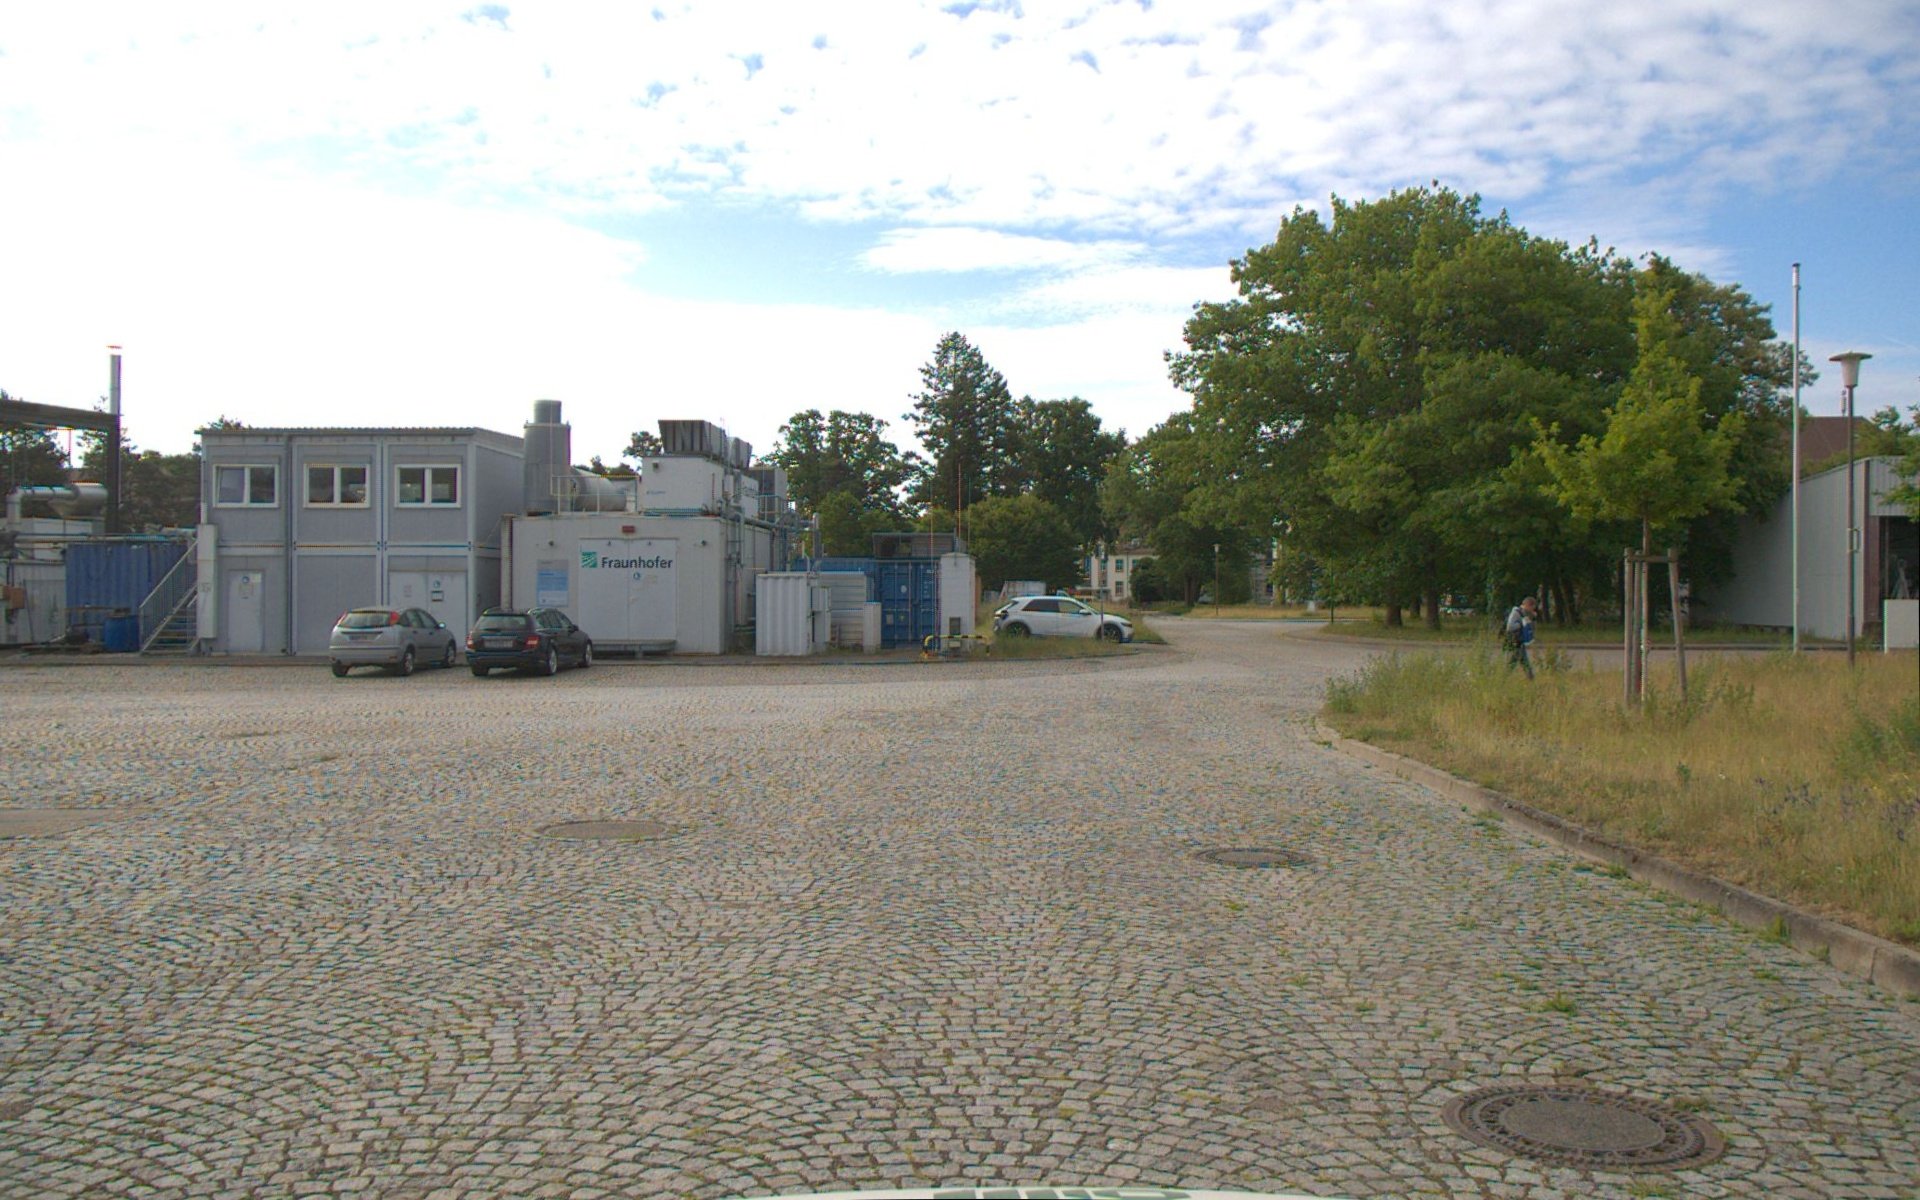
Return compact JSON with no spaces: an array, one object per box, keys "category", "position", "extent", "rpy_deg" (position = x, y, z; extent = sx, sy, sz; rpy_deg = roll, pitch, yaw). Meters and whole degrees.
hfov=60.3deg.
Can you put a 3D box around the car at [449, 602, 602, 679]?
[{"category":"car","position":[-9.576,0.853,36.872],"extent":[1.994,1.478,4.532],"rpy_deg":[0,2,3]}]

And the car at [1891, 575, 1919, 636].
[{"category":"car","position":[33.316,0.173,54.677],"extent":[2.195,2.049,5.338],"rpy_deg":[0,0,2]}]

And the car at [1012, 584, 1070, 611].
[{"category":"car","position":[7.154,-0.207,145.417],"extent":[5.062,2.378,2.001],"rpy_deg":[0,0,3]}]

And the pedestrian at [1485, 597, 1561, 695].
[{"category":"pedestrian","position":[9.315,0.743,27.343],"extent":[1.054,1.584,1.074],"rpy_deg":[0,0,27]}]

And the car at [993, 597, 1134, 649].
[{"category":"car","position":[3.376,0.727,53.418],"extent":[4.438,1.627,2.001],"rpy_deg":[0,0,5]}]

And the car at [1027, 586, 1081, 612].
[{"category":"car","position":[8.812,-0.131,154.909],"extent":[5.062,2.378,2.001],"rpy_deg":[0,0,3]}]

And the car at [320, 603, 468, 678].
[{"category":"car","position":[-12.679,0.874,37.342],"extent":[1.867,1.501,4.048],"rpy_deg":[0,1,1]}]
